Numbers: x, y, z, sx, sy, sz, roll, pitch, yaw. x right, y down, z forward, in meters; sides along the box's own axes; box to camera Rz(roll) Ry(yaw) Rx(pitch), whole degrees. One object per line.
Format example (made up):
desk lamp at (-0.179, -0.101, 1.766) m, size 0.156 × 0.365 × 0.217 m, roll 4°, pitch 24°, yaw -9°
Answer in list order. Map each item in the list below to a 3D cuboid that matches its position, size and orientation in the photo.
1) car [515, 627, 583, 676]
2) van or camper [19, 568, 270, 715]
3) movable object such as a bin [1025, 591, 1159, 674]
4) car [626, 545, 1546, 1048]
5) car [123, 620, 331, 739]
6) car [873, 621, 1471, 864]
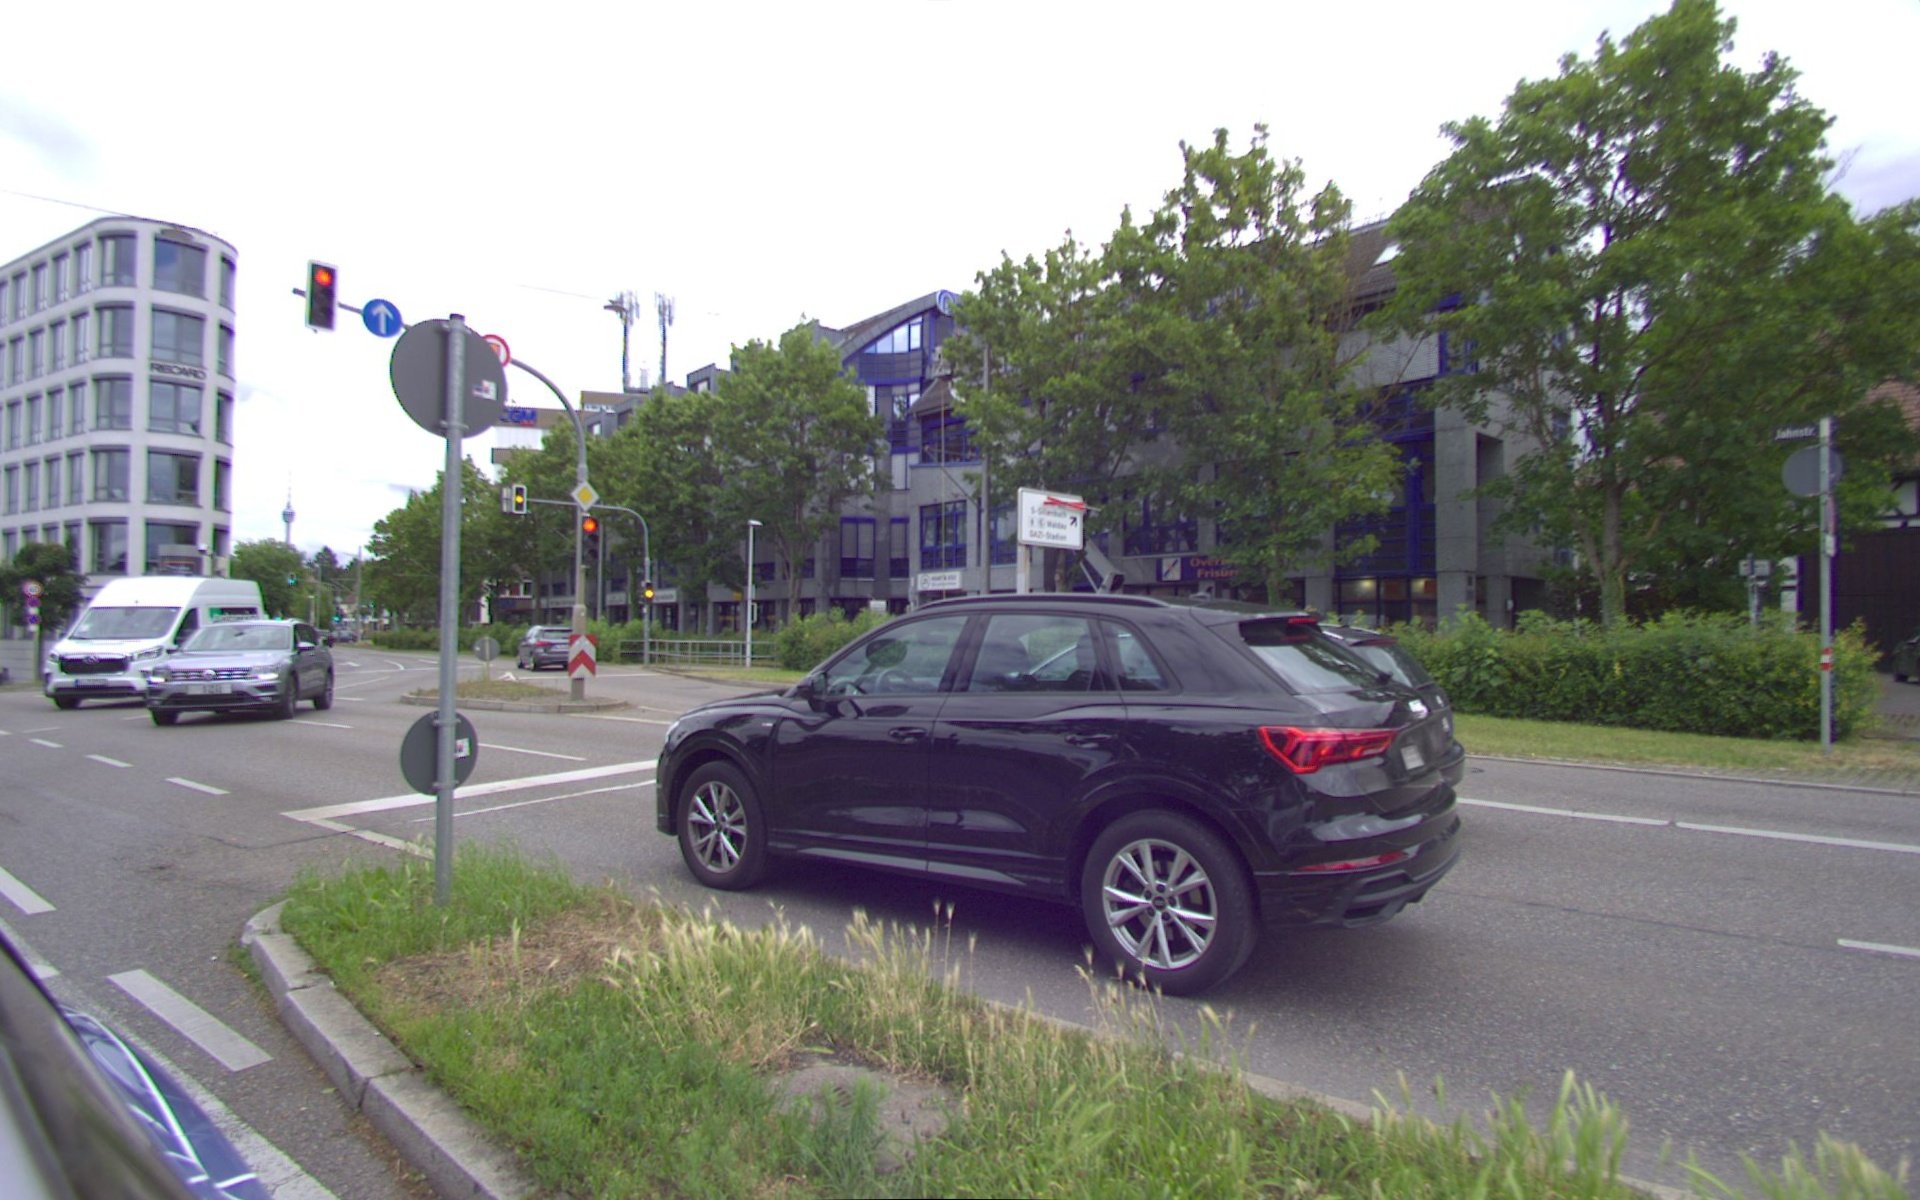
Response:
car at (-14.408, 1.773, 35.374) m, size 1.758 × 1.549 × 4.409 m, roll -1°, pitch -2°, yaw -28°
van or camper at (-17.381, 0.829, 22.068) m, size 2.076 × 2.710 × 6.318 m, roll -1°, pitch -1°, yaw -17°
movable object such as a bin at (4.243, 1.048, 33.071) m, size 1.881 × 2.551 × 4.132 m, roll 1°, pitch -2°, yaw -41°
car at (0.388, 0.691, 5.265) m, size 4.388 × 1.576 × 1.871 m, roll -2°, pitch -2°, yaw 37°
car at (-11.895, 1.188, 16.755) m, size 1.803 × 1.658 × 4.340 m, roll -1°, pitch -1°, yaw -22°
car at (1.502, 0.943, 8.164) m, size 4.390 × 1.436 × 1.765 m, roll -2°, pitch -2°, yaw 39°
